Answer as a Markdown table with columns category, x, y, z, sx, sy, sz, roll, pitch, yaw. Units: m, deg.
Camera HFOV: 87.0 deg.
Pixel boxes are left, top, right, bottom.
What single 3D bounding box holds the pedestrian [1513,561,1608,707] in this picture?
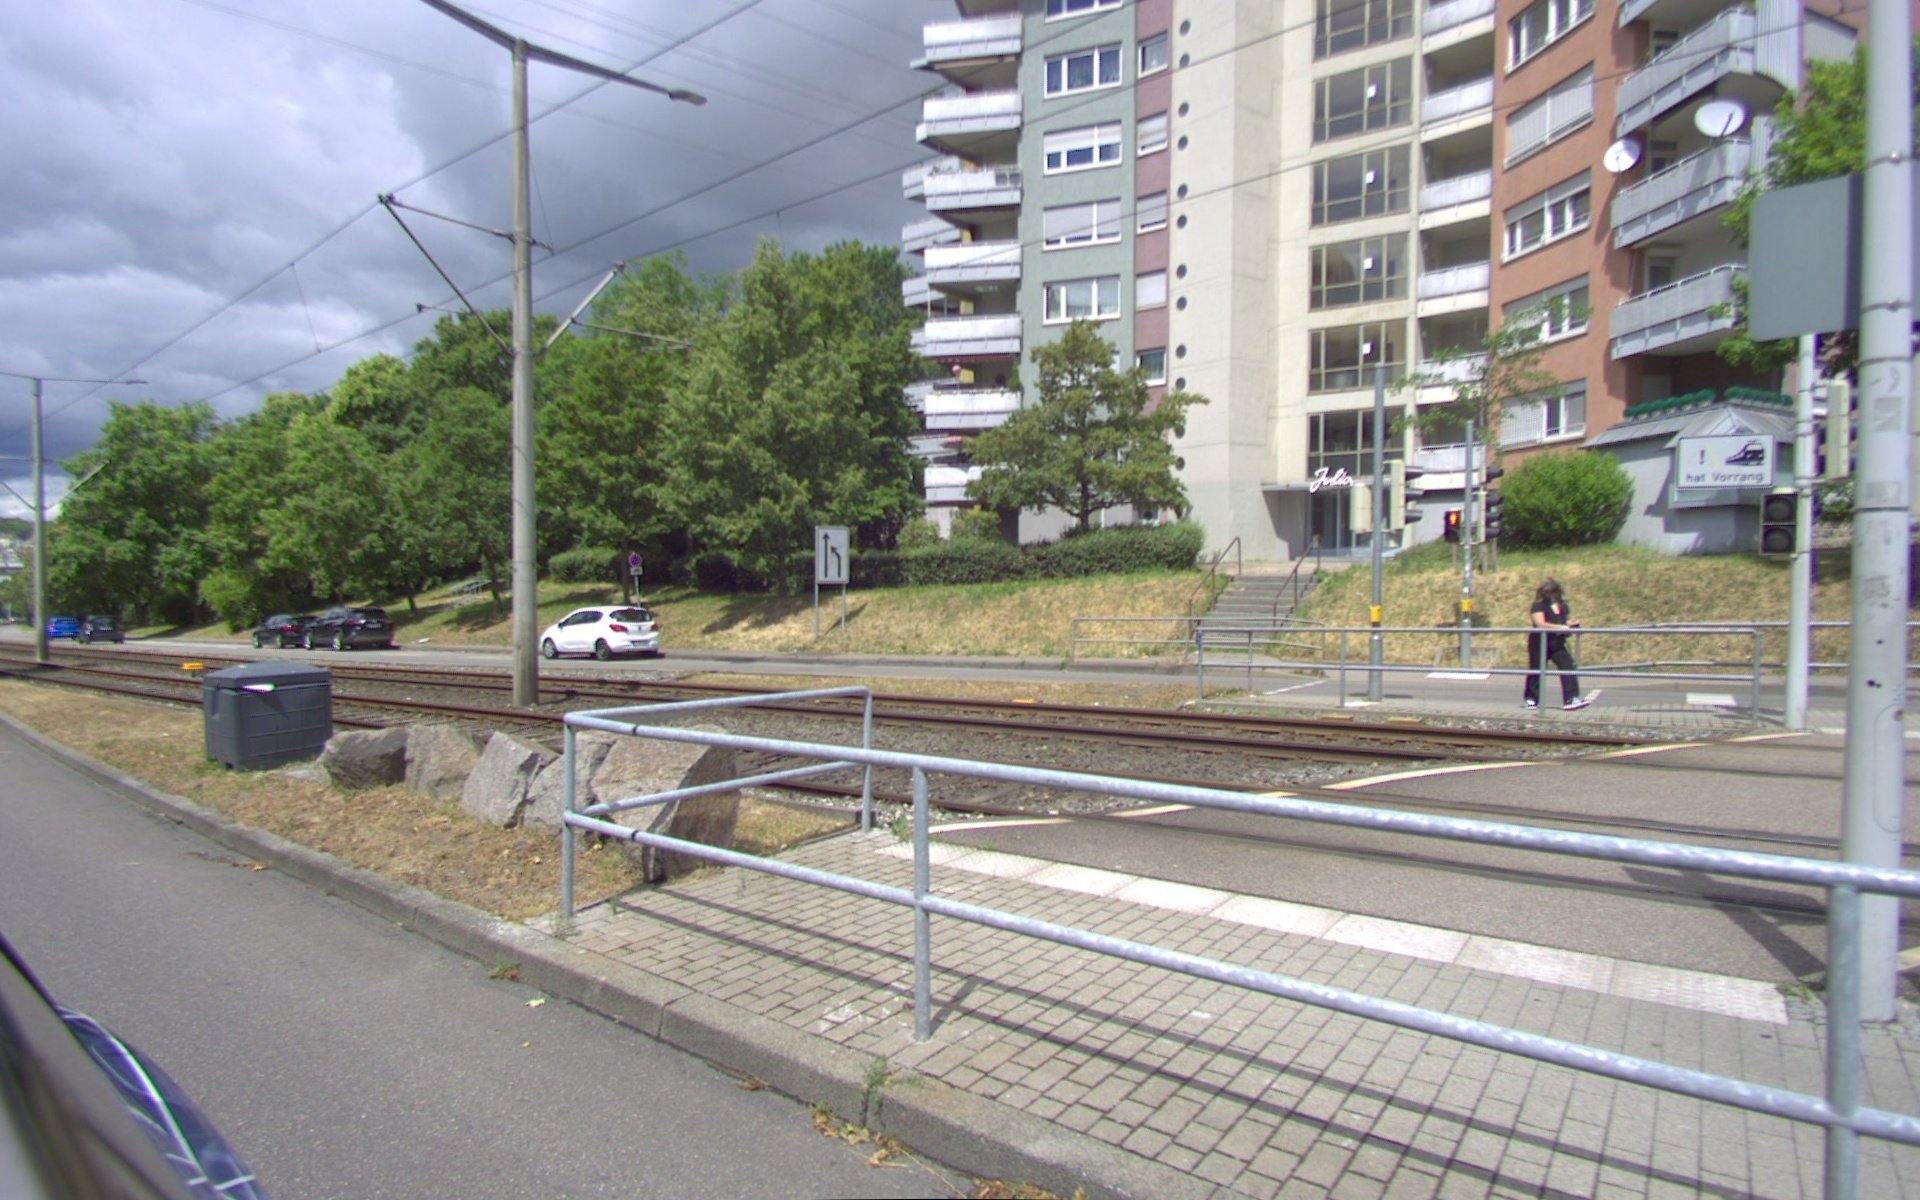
| category | x | y | z | sx | sy | sz | roll | pitch | yaw |
| --- | --- | --- | --- | --- | --- | --- | --- | --- | --- |
| pedestrian | 6.790 | 0.385 | 11.481 | 0.685 | 1.575 | 0.819 | -2 | -2 | 16 |

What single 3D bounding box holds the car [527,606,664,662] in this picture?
| category | x | y | z | sx | sy | sz | roll | pitch | yaw |
| --- | --- | --- | --- | --- | --- | --- | --- | --- | --- |
| car | -10.307 | 0.939 | 28.505 | 3.991 | 1.429 | 1.640 | -1 | 0 | 35 |

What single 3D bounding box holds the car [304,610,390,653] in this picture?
| category | x | y | z | sx | sy | sz | roll | pitch | yaw |
| --- | --- | --- | --- | --- | --- | --- | --- | --- | --- |
| car | -23.552 | 1.192 | 38.845 | 3.733 | 1.524 | 1.638 | -1 | 0 | 39 |

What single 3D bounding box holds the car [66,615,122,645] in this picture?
| category | x | y | z | sx | sy | sz | roll | pitch | yaw |
| --- | --- | --- | --- | --- | --- | --- | --- | --- | --- |
| car | -46.702 | 1.632 | 54.556 | 3.733 | 1.524 | 1.638 | -1 | 0 | 39 |

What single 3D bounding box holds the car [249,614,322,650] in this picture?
| category | x | y | z | sx | sy | sz | roll | pitch | yaw |
| --- | --- | --- | --- | --- | --- | --- | --- | --- | --- |
| car | -28.503 | 1.343 | 42.766 | 3.465 | 1.451 | 1.586 | -2 | 0 | 39 |

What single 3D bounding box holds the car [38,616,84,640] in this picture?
| category | x | y | z | sx | sy | sz | roll | pitch | yaw |
| --- | --- | --- | --- | --- | --- | --- | --- | --- | --- |
| car | -57.909 | 1.812 | 65.164 | 3.733 | 1.466 | 1.616 | -1 | 0 | 39 |
